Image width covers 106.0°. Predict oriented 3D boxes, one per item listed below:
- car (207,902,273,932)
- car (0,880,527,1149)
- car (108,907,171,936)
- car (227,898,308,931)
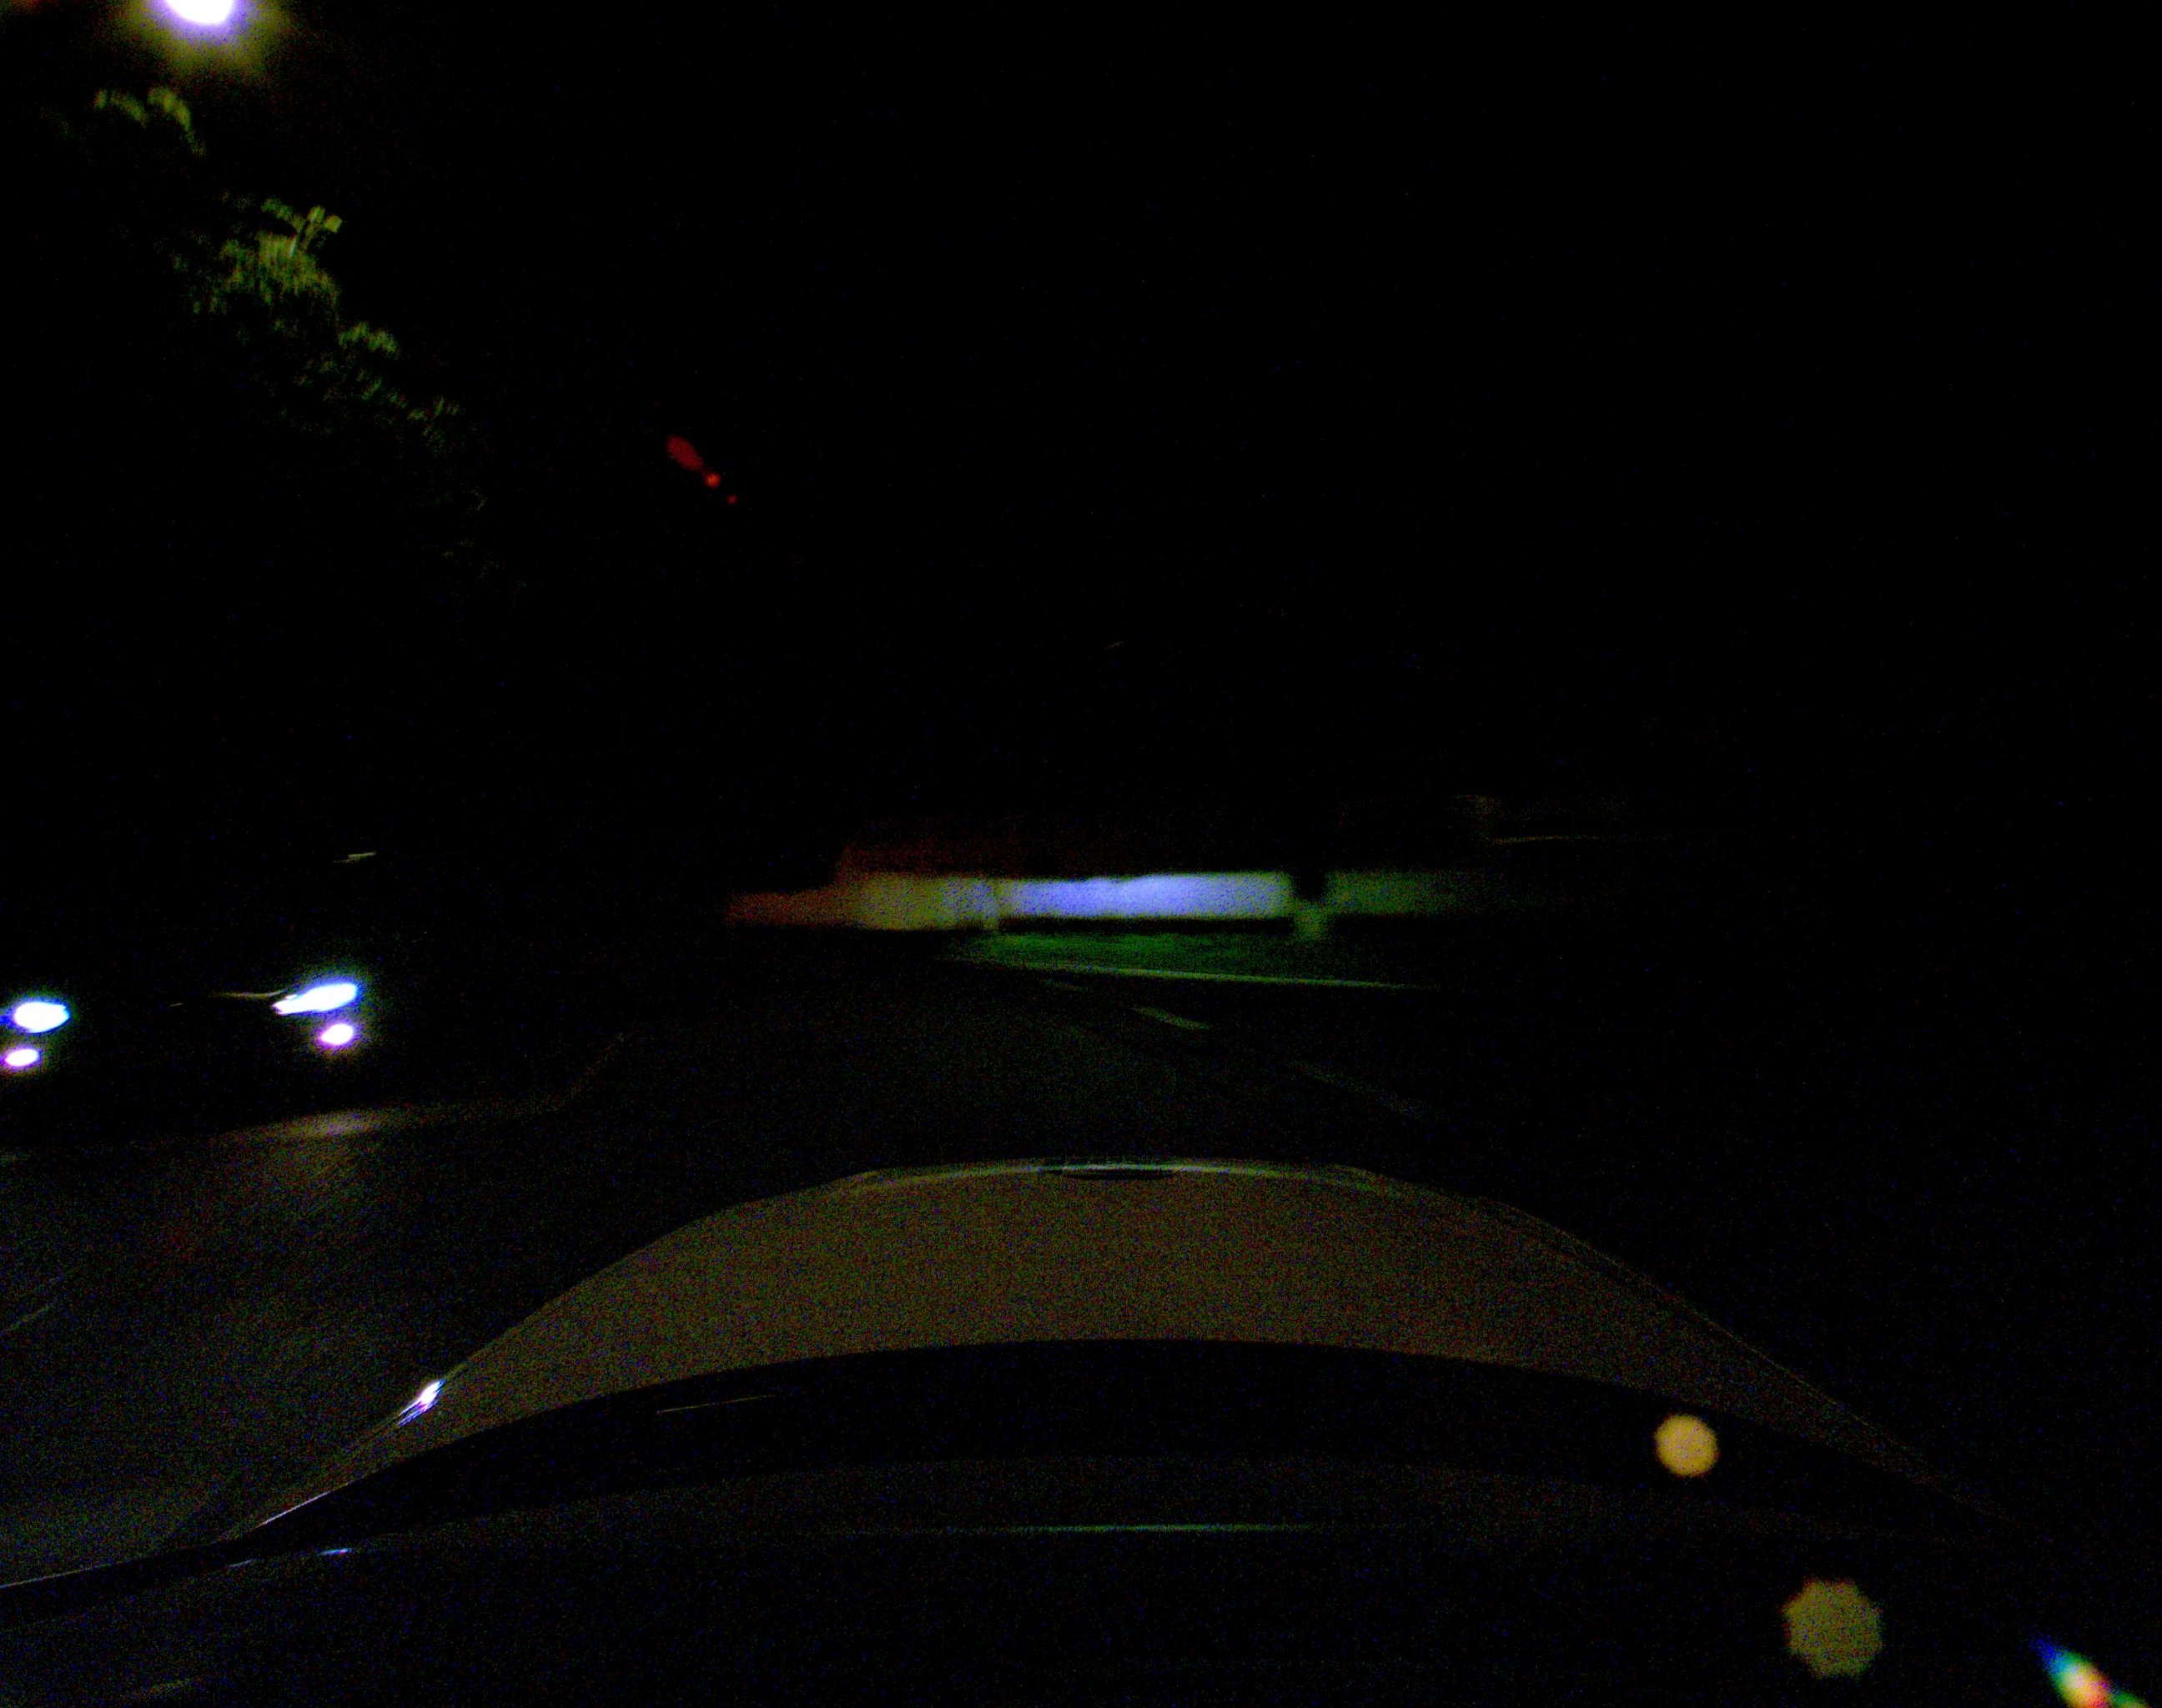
[{"bbox_3d":[-45.704,3.394,44.232,3.669,1.461,1.624,-2,-2,30],"label":"car"},{"bbox_3d":[-6.235,0.976,6.845,1.733,1.430,4.257,-1,-1,-22],"label":"car"},{"bbox_3d":[-60.672,4.362,52.441,4.696,1.762,1.734,-4,-6,31],"label":"car"},{"bbox_3d":[-41.909,3.147,41.919,4.667,1.594,1.771,-3,-6,31],"label":"car"}]
